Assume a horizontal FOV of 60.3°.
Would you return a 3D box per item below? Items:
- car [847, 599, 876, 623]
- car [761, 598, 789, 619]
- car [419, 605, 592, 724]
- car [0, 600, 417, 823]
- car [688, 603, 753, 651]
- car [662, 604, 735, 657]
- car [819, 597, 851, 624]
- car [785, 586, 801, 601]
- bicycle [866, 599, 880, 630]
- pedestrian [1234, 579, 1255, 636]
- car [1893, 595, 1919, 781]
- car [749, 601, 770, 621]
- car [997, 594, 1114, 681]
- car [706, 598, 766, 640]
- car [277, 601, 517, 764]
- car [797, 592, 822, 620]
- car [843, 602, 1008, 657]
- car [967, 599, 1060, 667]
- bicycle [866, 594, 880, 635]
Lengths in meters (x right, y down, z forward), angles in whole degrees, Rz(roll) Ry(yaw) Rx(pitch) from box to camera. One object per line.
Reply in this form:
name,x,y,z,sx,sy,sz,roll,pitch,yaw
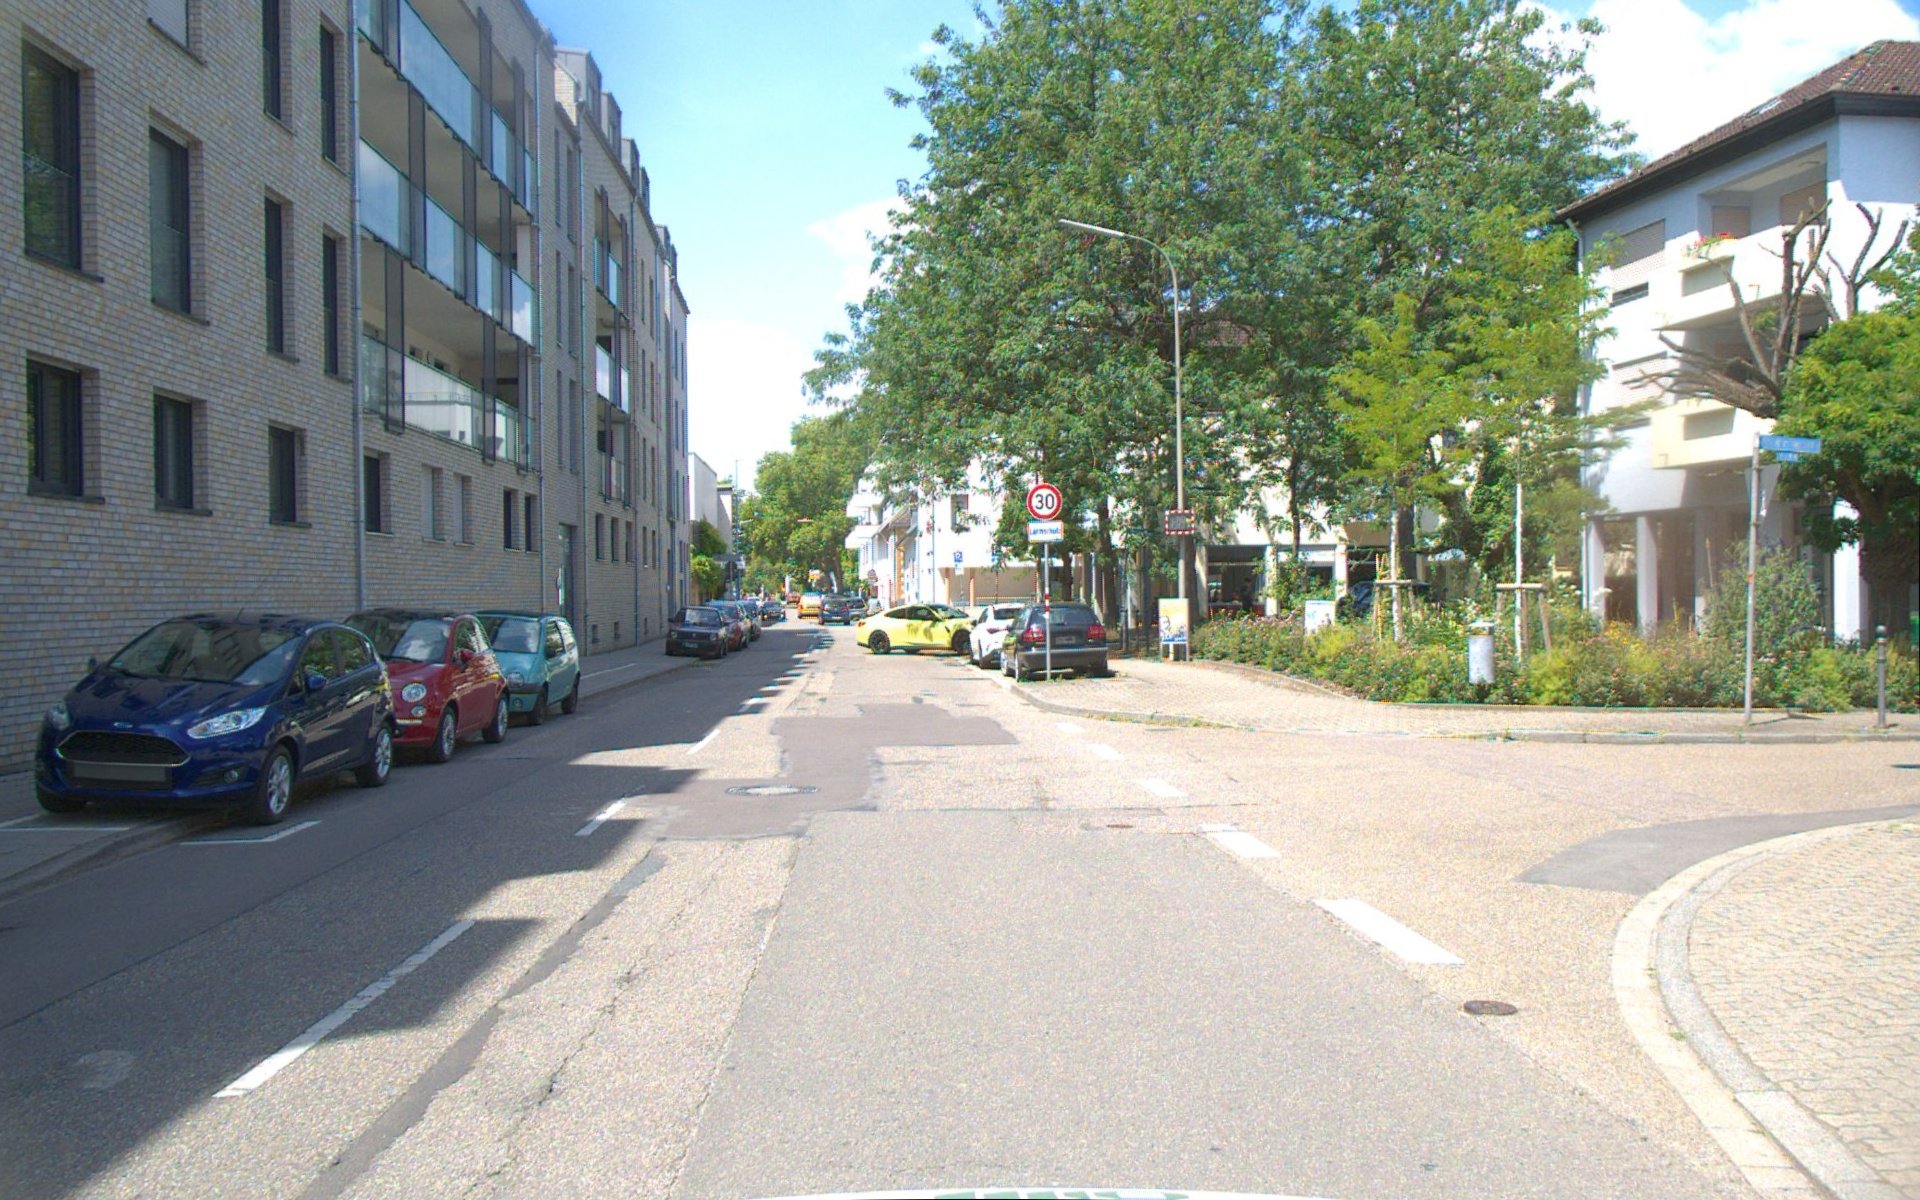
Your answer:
car,-6.779,0.745,113.697,1.954,1.646,3.996,0,0,-5
car,-13.856,0.634,124.053,1.955,1.545,3.996,-1,0,-5
car,-6.232,0.836,23.042,1.559,1.481,3.701,1,0,-3
car,-5.765,0.753,13.102,1.688,1.482,4.003,1,0,-2
car,-7.660,0.834,53.196,1.698,1.467,3.997,-1,0,-4
car,-7.579,0.849,48.168,1.698,1.467,3.997,-1,0,-4
car,-7.104,0.568,94.323,1.681,1.426,3.998,-1,1,-3
car,-23.762,-0.935,235.548,2.116,2.049,3.994,-1,0,-7
bicycle,-3.261,0.535,61.918,0.473,1.134,1.195,-1,0,-4
pedestrian,9.568,0.253,55.589,0.583,1.891,0.604,-1,0,20
car,9.399,0.702,12.701,3.527,1.474,1.740,0,0,-4
car,-21.395,1.136,176.387,1.954,2.049,3.997,-1,0,-4
car,1.737,0.666,31.358,1.659,1.445,3.997,-3,0,-4
car,-8.129,0.666,60.328,1.790,1.445,3.998,1,0,-2
car,-5.965,0.803,17.921,1.559,1.581,3.568,0,0,-3
car,-11.341,0.428,125.103,1.803,2.049,3.996,-1,0,-5
car,-0.992,0.804,47.019,4.298,1.405,1.996,1,0,31
car,1.180,0.724,38.080,1.744,1.445,3.997,-1,0,-4
bicycle,-3.258,0.555,61.902,0.468,1.516,0.576,-1,0,-4
